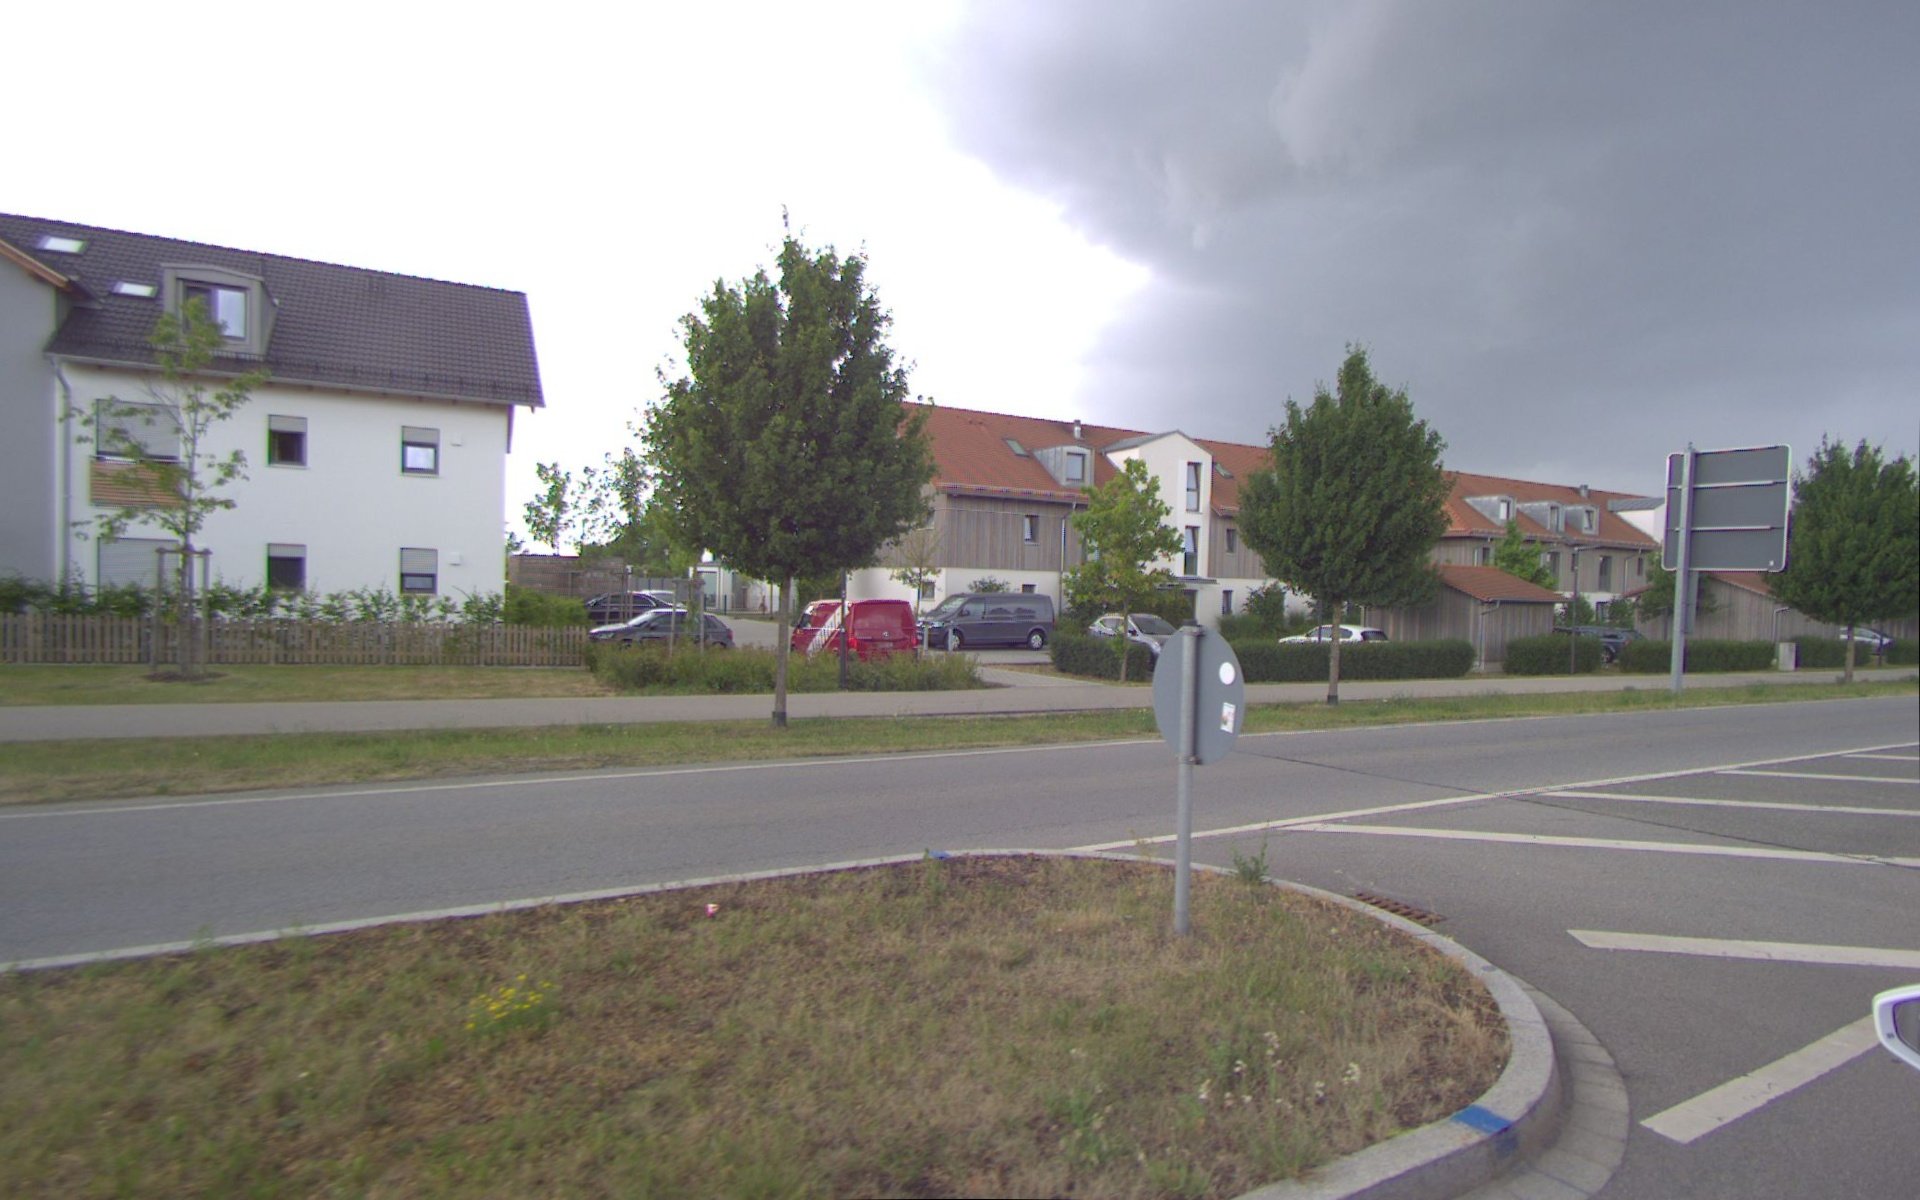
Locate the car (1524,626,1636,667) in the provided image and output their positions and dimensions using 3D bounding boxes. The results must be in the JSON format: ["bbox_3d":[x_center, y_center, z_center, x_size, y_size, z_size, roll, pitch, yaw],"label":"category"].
[{"bbox_3d":[24.709,1.815,40.125,1.545,1.509,3.498,1,0,-30],"label":"car"}]

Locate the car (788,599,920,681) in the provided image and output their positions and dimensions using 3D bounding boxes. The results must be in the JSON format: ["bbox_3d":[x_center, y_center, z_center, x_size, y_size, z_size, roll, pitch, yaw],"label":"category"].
[{"bbox_3d":[-2.793,0.925,25.299,1.880,1.840,4.892,1,0,-24],"label":"car"}]

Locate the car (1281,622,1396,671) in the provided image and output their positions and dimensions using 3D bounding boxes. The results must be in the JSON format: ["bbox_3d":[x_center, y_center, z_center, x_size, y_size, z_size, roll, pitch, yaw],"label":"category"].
[{"bbox_3d":[12.790,1.533,34.131,1.545,1.509,3.498,1,0,-30],"label":"car"}]

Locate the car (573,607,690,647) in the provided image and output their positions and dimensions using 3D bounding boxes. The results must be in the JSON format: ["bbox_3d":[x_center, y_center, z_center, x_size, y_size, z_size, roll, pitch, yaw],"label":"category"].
[{"bbox_3d":[-12.533,1.036,38.330,3.953,1.439,1.867,1,0,-30],"label":"car"}]

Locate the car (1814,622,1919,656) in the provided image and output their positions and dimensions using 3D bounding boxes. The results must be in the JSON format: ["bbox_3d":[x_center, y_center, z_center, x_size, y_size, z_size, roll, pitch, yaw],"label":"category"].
[{"bbox_3d":[50.806,2.171,56.333,1.975,1.577,3.970,1,2,-28],"label":"car"}]

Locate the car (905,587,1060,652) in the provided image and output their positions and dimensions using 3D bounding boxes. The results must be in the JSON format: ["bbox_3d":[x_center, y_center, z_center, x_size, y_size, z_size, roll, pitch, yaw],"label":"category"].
[{"bbox_3d":[0.834,0.690,35.756,5.134,2.041,1.985,1,4,-27],"label":"car"}]

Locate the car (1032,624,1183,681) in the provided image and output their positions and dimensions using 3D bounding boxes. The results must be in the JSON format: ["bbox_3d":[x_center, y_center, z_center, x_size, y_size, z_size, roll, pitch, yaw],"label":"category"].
[{"bbox_3d":[4.252,1.501,29.821,1.882,1.449,4.885,1,-1,-28],"label":"car"}]

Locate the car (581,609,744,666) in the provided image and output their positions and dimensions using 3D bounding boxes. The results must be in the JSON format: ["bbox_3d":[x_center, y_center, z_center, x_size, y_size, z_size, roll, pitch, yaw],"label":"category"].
[{"bbox_3d":[-8.089,0.999,27.343,3.953,1.439,1.867,1,0,-30],"label":"car"}]
